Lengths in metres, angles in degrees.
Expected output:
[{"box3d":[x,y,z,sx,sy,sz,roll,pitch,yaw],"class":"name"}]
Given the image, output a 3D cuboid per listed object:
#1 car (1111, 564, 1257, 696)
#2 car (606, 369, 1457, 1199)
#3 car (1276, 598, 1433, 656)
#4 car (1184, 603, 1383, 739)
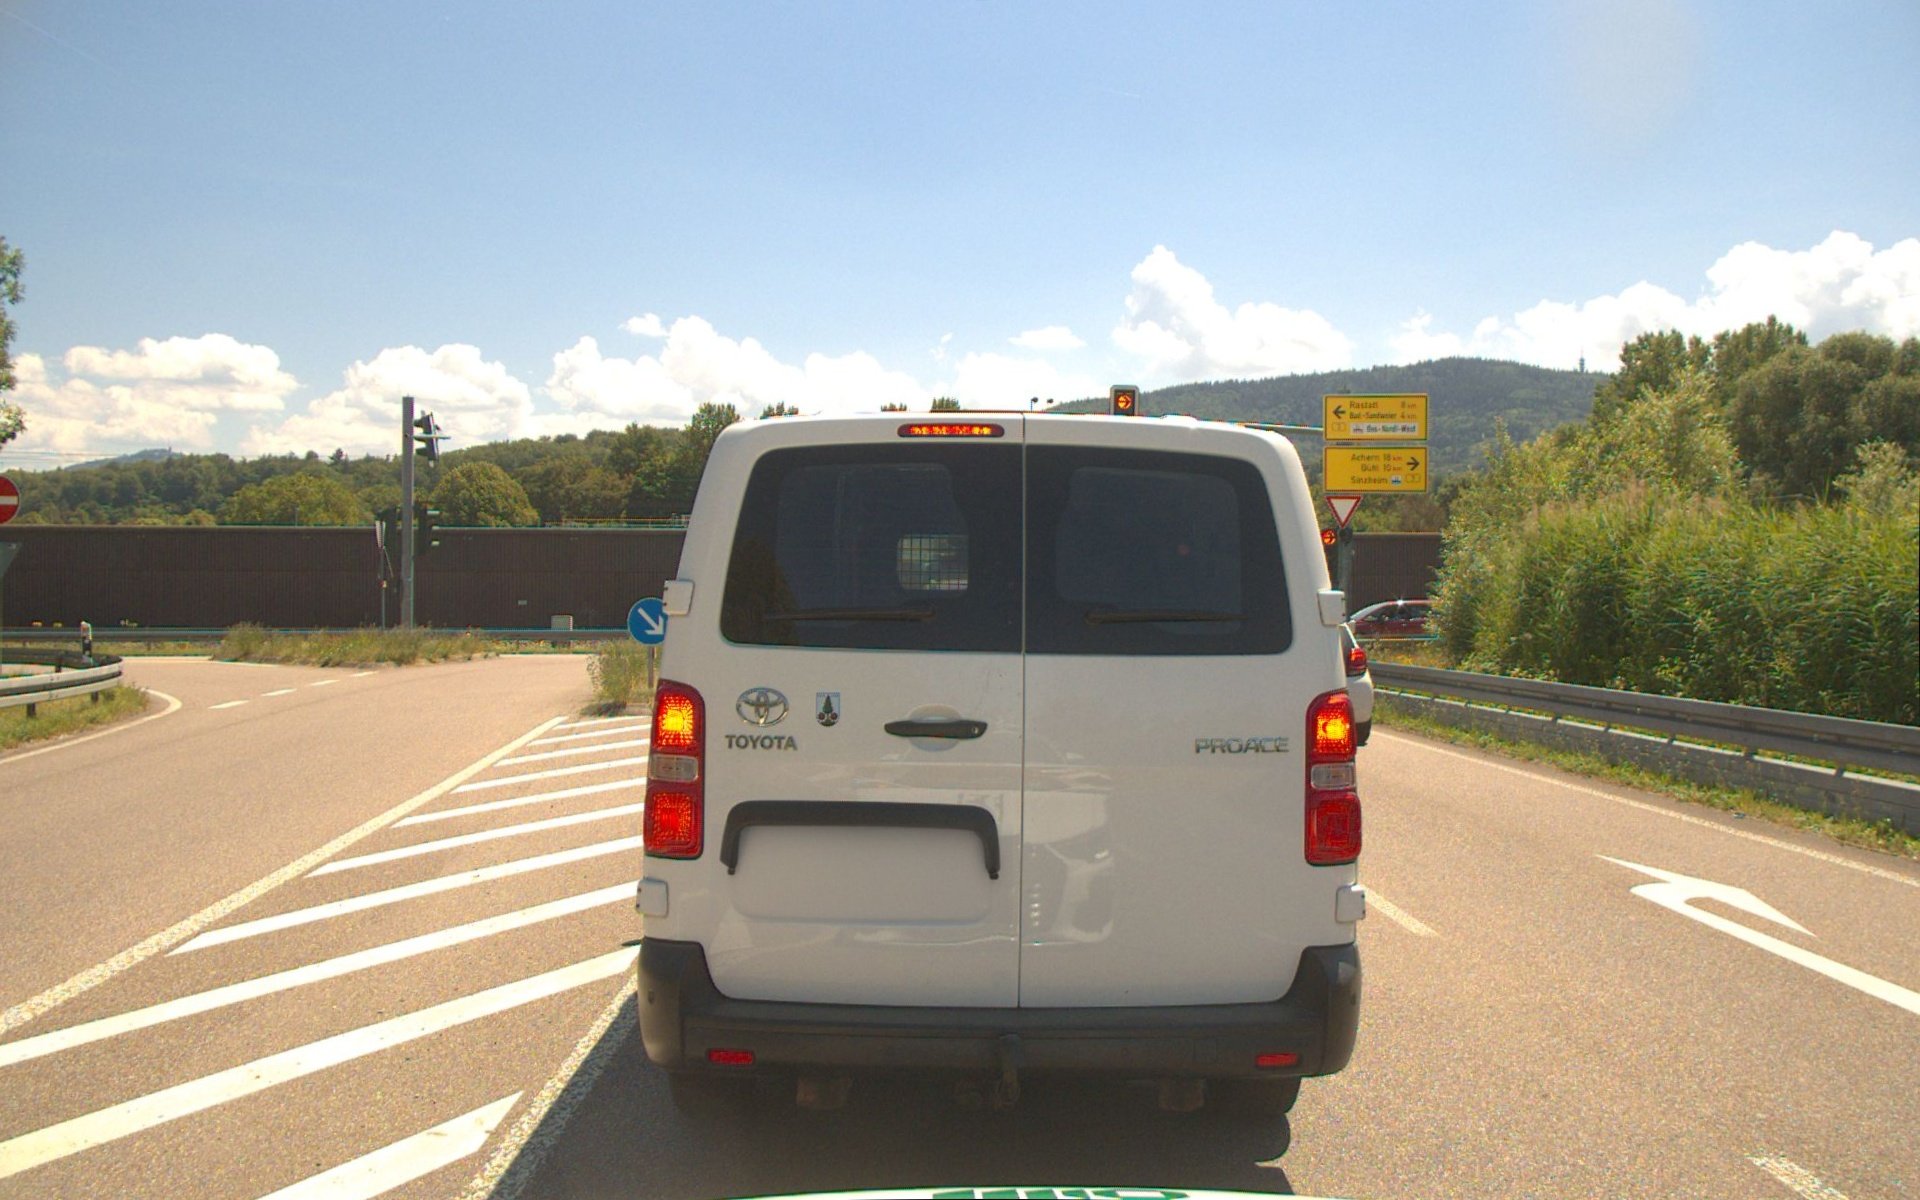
[{"box3d":[3.715,0.482,28.262,1.889,2.035,4.838,1,0,1],"class":"car"},{"box3d":[0.120,0.476,5.627,1.848,1.919,3.999,1,0,-1],"class":"car"},{"box3d":[11.891,0.810,50.006,4.225,1.685,1.998,0,0,-4],"class":"car"},{"box3d":[3.751,0.782,19.663,1.622,1.456,3.364,1,0,-1],"class":"car"}]
